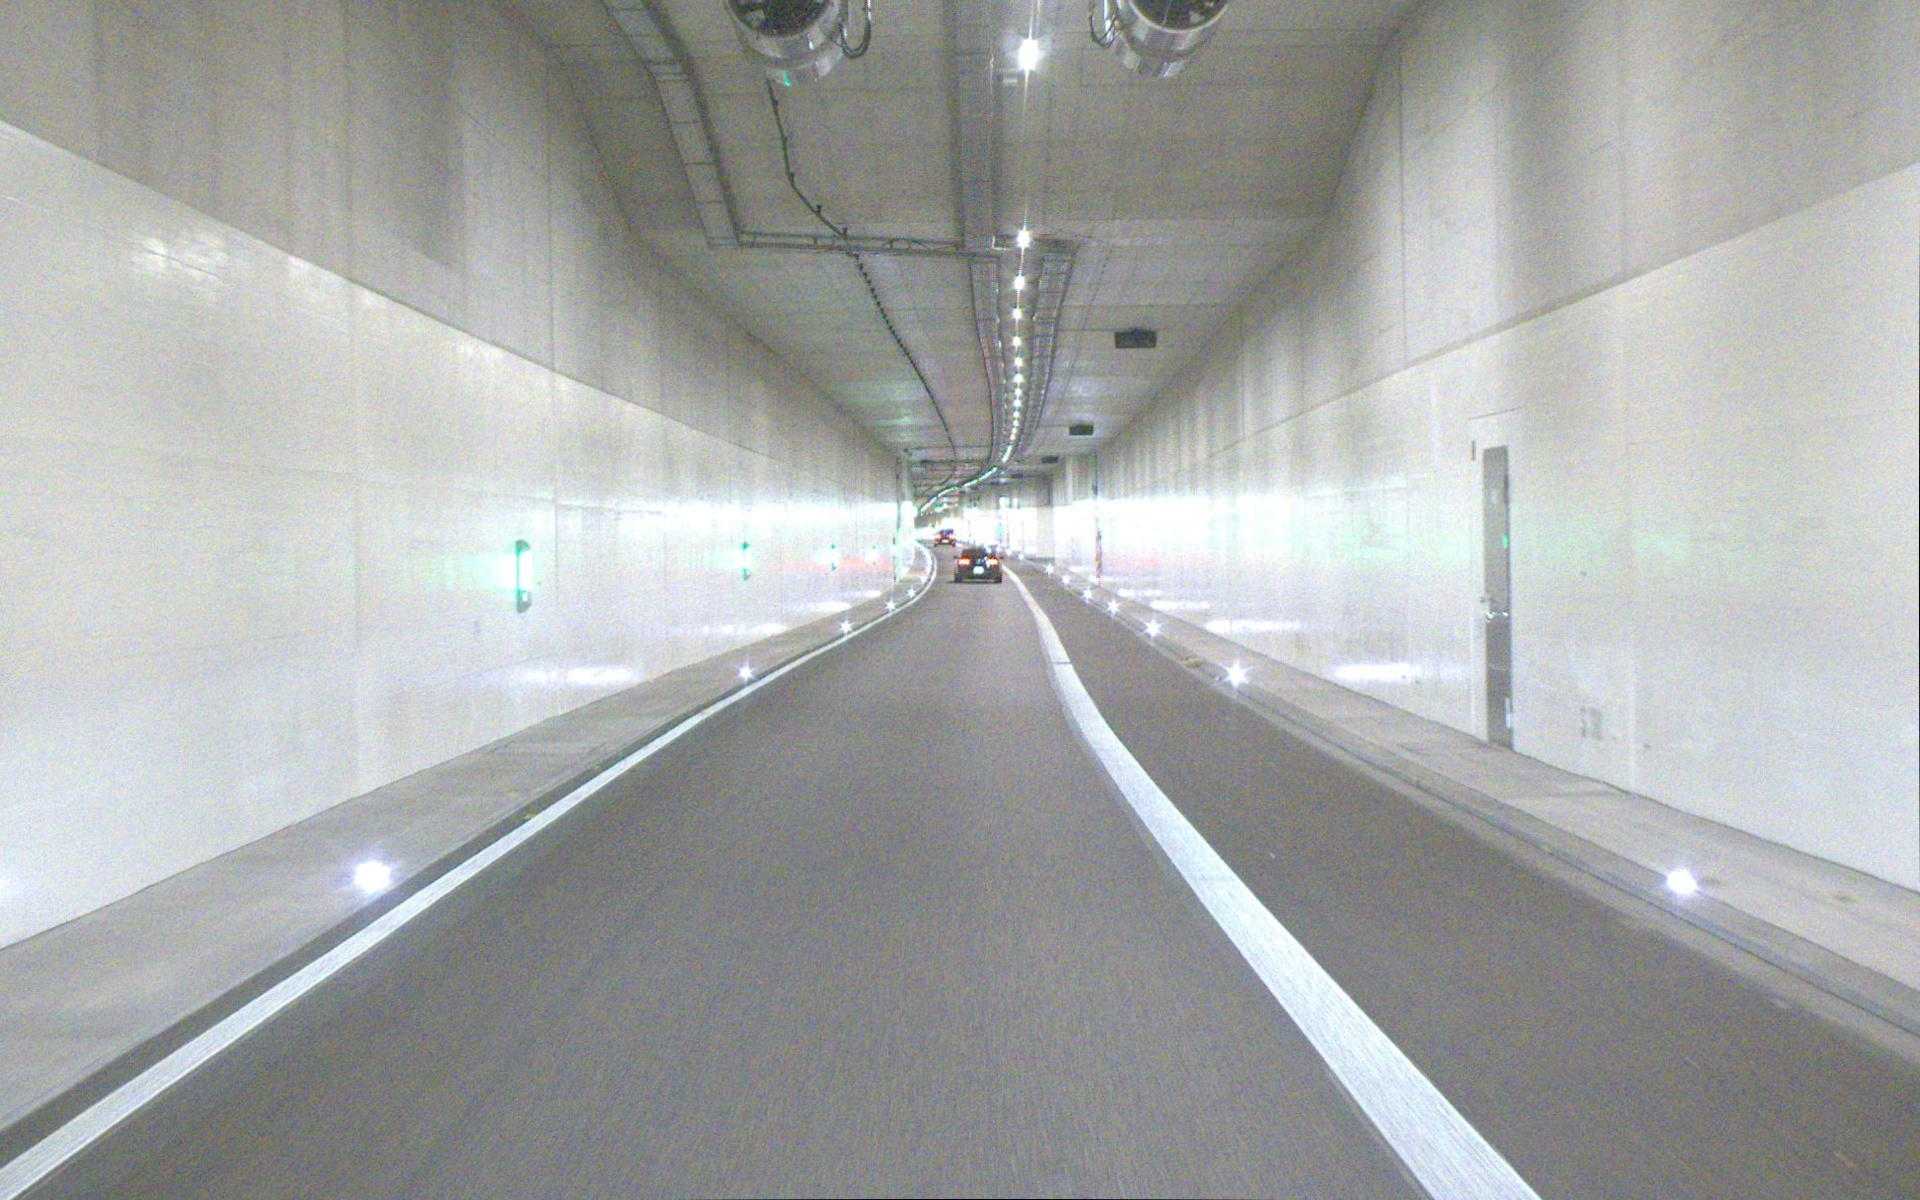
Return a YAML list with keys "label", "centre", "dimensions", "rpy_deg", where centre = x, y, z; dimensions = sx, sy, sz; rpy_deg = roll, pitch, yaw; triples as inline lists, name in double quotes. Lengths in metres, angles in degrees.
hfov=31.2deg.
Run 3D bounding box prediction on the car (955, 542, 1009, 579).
- label: "car"
  centre: [0.846, -1.562, 136.061]
  dimensions: [1.993, 1.415, 4.000]
  rpy_deg: [0, 1, -2]
